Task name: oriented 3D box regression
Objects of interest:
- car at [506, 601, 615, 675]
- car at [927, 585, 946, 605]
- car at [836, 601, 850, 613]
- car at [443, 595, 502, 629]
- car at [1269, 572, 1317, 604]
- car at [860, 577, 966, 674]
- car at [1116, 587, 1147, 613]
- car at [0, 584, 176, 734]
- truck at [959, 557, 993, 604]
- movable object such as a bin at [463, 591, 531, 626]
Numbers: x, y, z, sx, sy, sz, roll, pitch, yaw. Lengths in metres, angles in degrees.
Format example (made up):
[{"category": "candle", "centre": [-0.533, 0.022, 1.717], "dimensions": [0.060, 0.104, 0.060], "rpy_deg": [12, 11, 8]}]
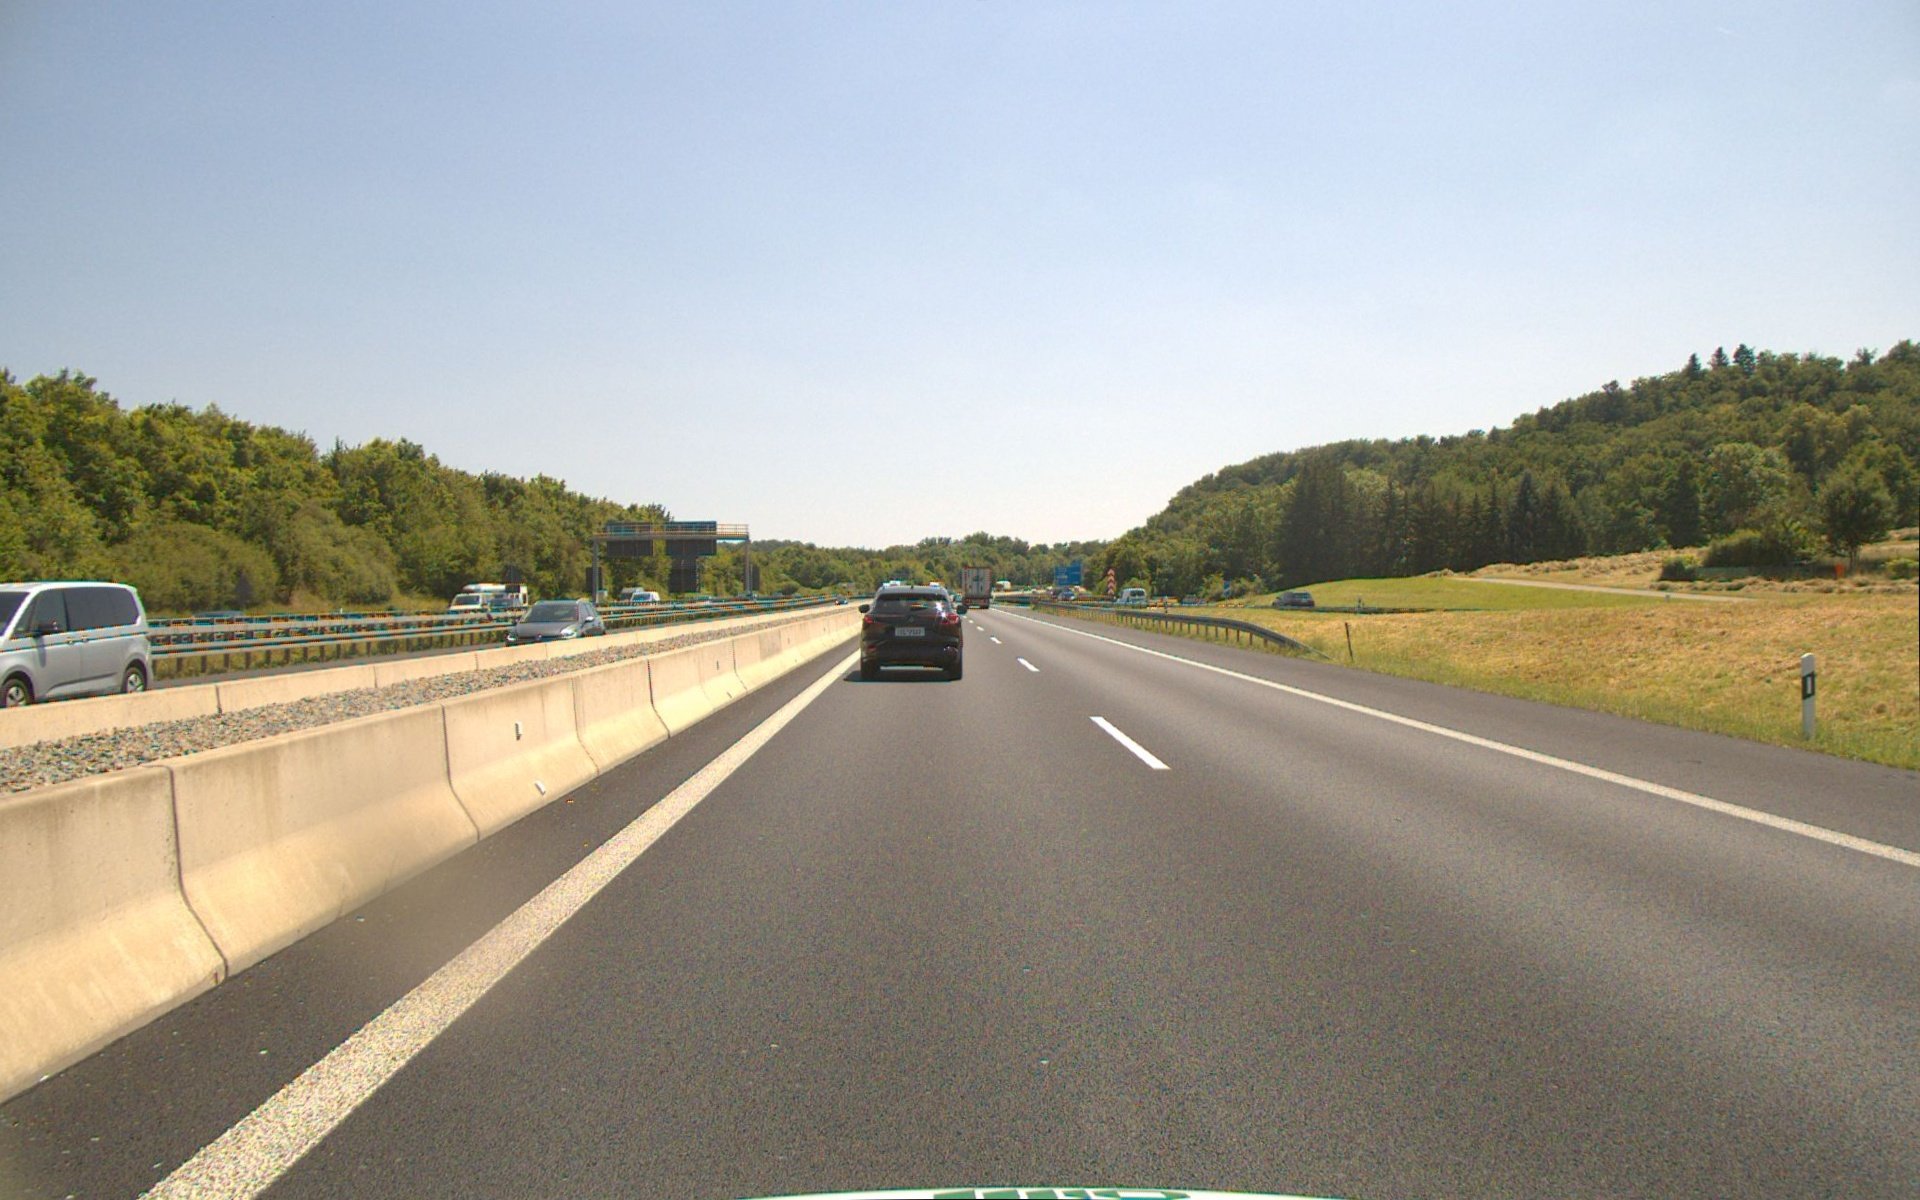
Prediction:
[{"category": "car", "centre": [-9.581, 0.875, 39.991], "dimensions": [1.758, 1.623, 4.305], "rpy_deg": [-1, 1, -3]}, {"category": "car", "centre": [-2.776, -0.524, 194.039], "dimensions": [2.094, 2.255, 5.087], "rpy_deg": [1, 0, 0]}, {"category": "car", "centre": [-15.519, 0.905, 218.945], "dimensions": [1.797, 1.561, 4.156], "rpy_deg": [1, 0, -4]}, {"category": "car", "centre": [-28.365, 0.675, 96.412], "dimensions": [1.953, 1.837, 4.817], "rpy_deg": [-2, 0, 0]}, {"category": "car", "centre": [22.570, -0.772, 112.094], "dimensions": [1.956, 2.049, 3.993], "rpy_deg": [-2, 0, -7]}, {"category": "car", "centre": [-0.905, 0.436, 29.829], "dimensions": [1.744, 1.605, 3.997], "rpy_deg": [1, 0, -3]}, {"category": "car", "centre": [14.053, -0.002, 135.622], "dimensions": [1.953, 2.049, 3.999], "rpy_deg": [-3, 0, -1]}, {"category": "car", "centre": [-12.989, 0.771, 22.747], "dimensions": [1.953, 1.874, 5.084], "rpy_deg": [-2, 0, 0]}, {"category": "truck", "centre": [1.583, -1.889, 165.738], "dimensions": [2.970, 4.496, 12.015], "rpy_deg": [1, 0, -1]}, {"category": "movable object such as a bin", "centre": [-28.526, 0.537, 102.050], "dimensions": [2.456, 2.049, 6.777], "rpy_deg": [1, 0, -2]}]
